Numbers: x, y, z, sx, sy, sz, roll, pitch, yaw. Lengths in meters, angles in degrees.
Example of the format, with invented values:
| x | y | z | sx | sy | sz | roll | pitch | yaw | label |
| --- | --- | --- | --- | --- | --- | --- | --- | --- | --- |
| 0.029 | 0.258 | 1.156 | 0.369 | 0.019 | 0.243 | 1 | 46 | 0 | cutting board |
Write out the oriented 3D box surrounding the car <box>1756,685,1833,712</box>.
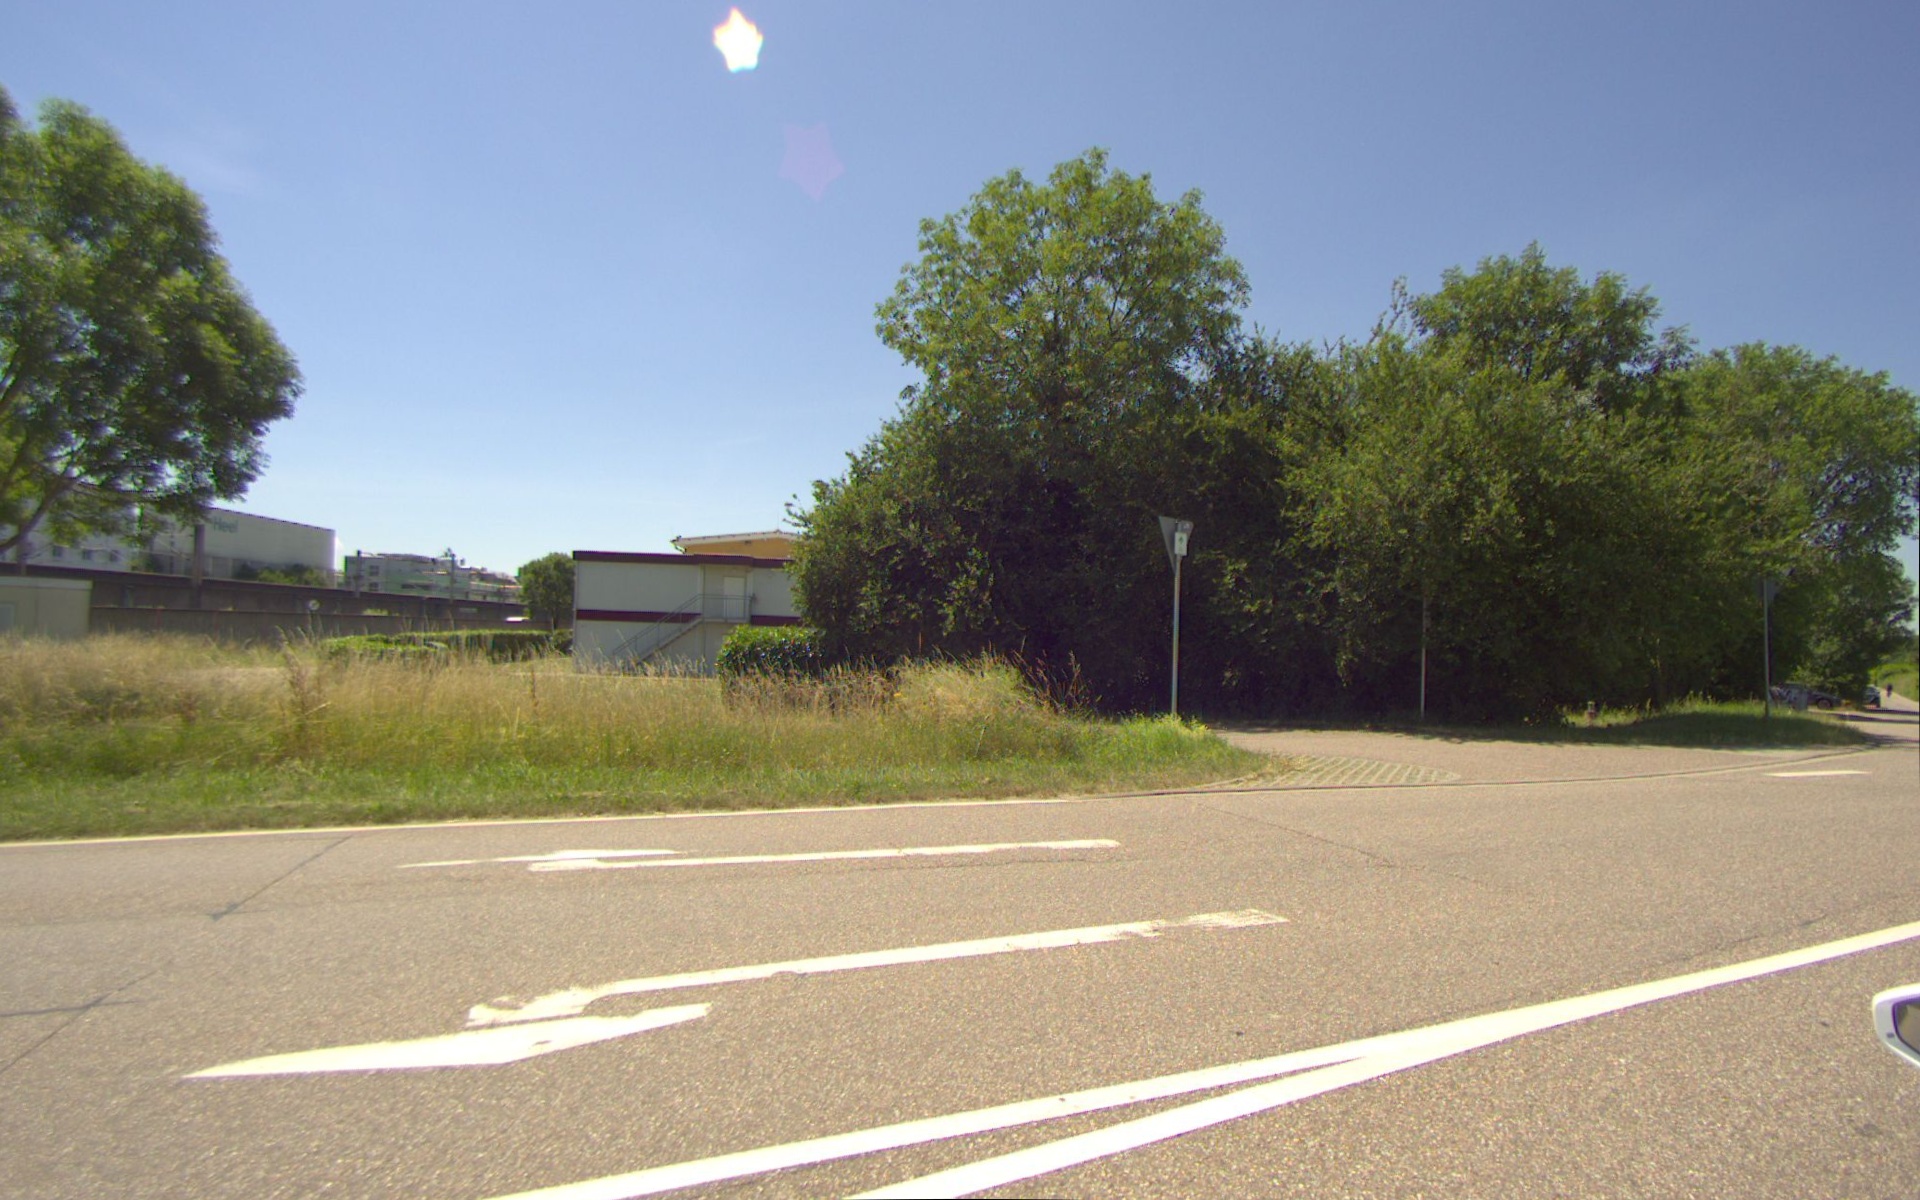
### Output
| x | y | z | sx | sy | sz | roll | pitch | yaw | label |
| --- | --- | --- | --- | --- | --- | --- | --- | --- | --- |
| 56.238 | 6.597 | 67.807 | 3.939 | 1.591 | 1.992 | -1 | -3 | 39 | car |

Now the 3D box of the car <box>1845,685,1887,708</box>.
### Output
| x | y | z | sx | sy | sz | roll | pitch | yaw | label |
| --- | --- | --- | --- | --- | --- | --- | --- | --- | --- |
| 71.081 | 7.520 | 78.872 | 1.967 | 1.617 | 3.988 | 0 | -3 | 35 | car |
